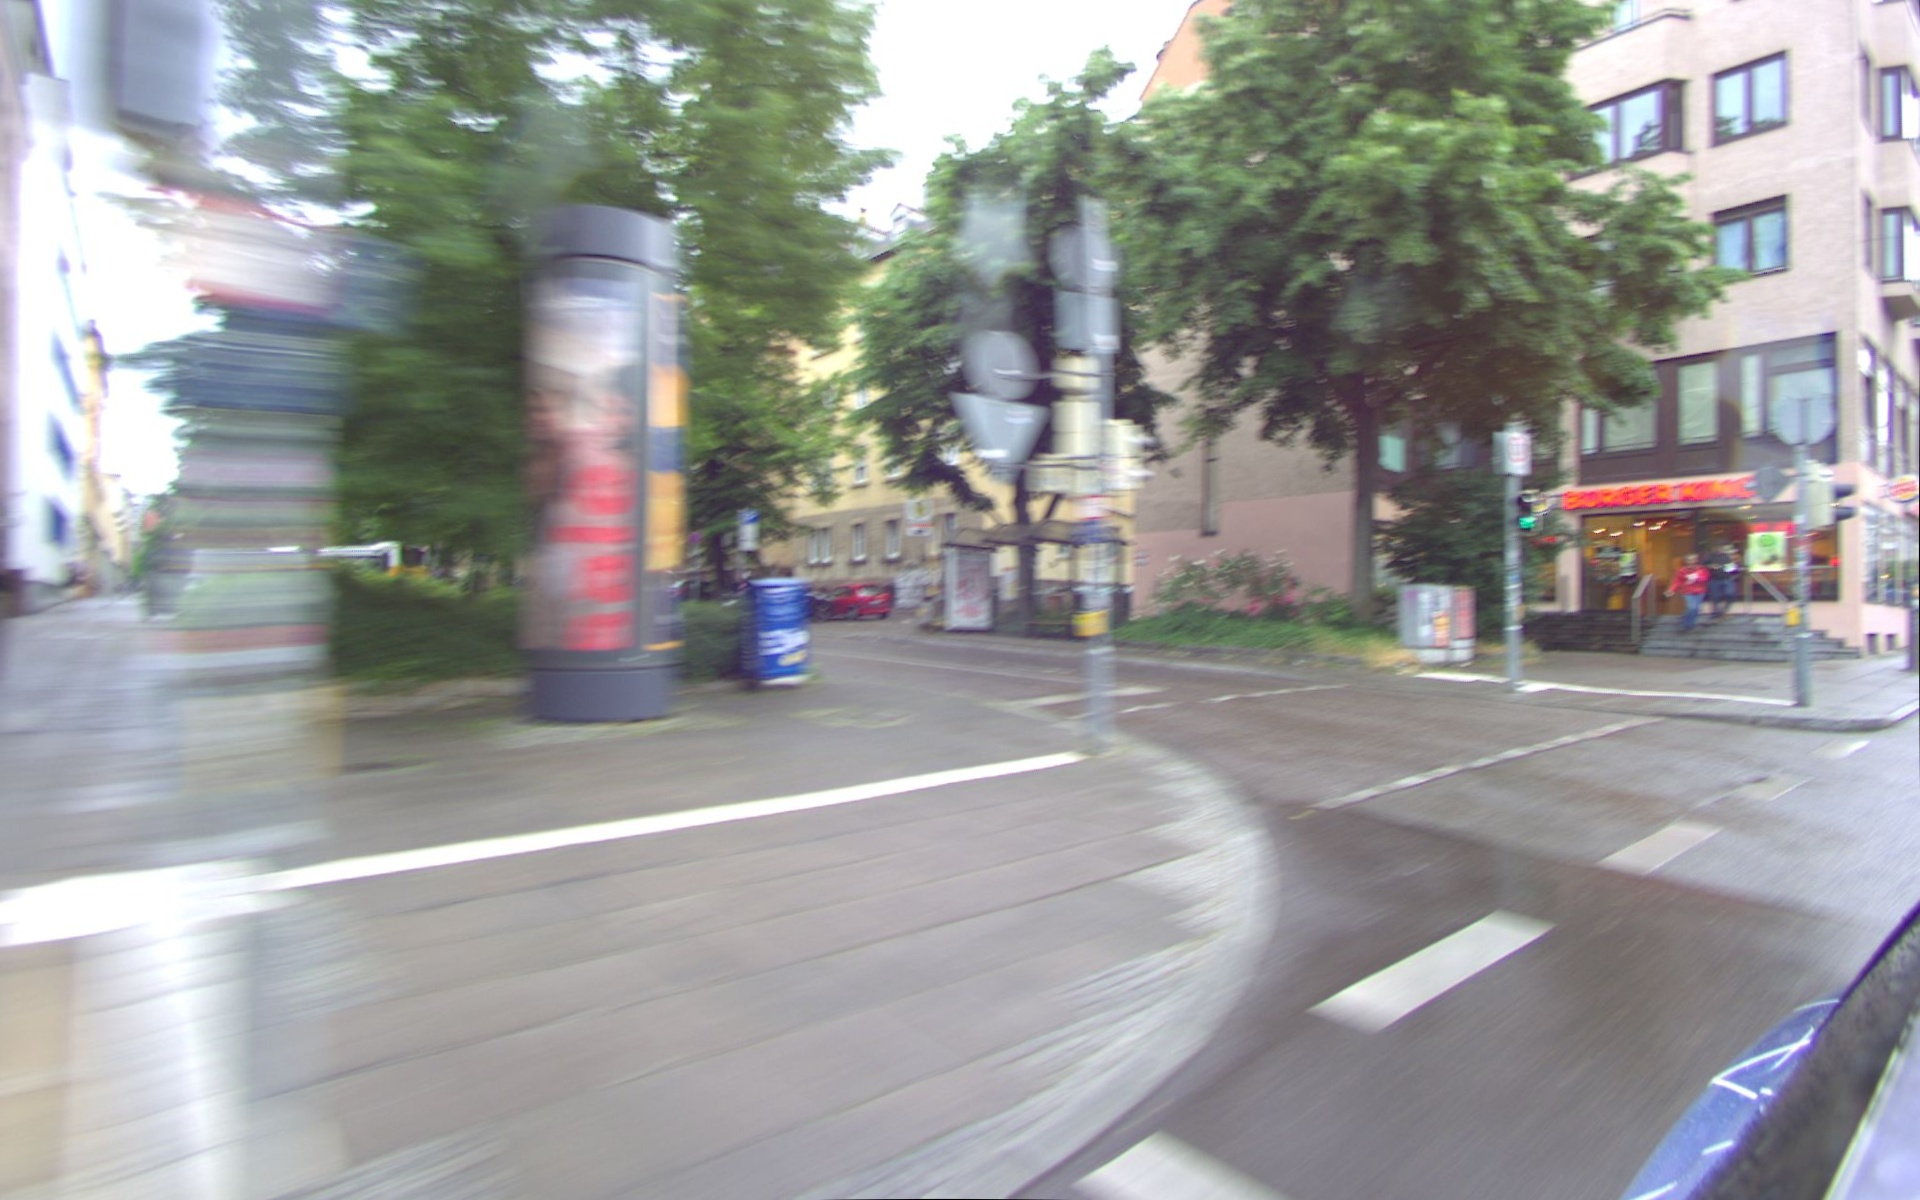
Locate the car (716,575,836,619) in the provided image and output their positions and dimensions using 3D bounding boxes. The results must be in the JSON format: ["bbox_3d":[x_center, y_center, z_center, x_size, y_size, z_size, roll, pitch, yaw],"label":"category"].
[{"bbox_3d":[-6.398,-0.125,35.384,3.803,1.479,1.676,0,1,-41],"label":"car"}]

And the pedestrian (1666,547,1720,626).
[{"bbox_3d":[15.747,-0.286,21.753,0.614,1.670,0.725,0,1,1],"label":"pedestrian"}]

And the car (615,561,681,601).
[{"bbox_3d":[-16.743,-1.022,54.132,1.819,2.020,5.406,0,1,-35],"label":"car"}]

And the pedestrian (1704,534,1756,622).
[{"bbox_3d":[16.430,-0.474,21.601,0.585,1.842,0.667,0,1,1],"label":"pedestrian"}]

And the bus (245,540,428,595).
[{"bbox_3d":[-36.468,-1.921,59.217,10.353,3.055,2.841,1,1,15],"label":"bus"}]

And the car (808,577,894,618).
[{"bbox_3d":[-4.291,-0.135,39.474,1.643,1.474,3.671,-1,1,-38],"label":"car"}]

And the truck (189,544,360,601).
[{"bbox_3d":[-29.845,-1.170,44.180,5.977,2.306,2.262,0,1,-41],"label":"truck"}]
